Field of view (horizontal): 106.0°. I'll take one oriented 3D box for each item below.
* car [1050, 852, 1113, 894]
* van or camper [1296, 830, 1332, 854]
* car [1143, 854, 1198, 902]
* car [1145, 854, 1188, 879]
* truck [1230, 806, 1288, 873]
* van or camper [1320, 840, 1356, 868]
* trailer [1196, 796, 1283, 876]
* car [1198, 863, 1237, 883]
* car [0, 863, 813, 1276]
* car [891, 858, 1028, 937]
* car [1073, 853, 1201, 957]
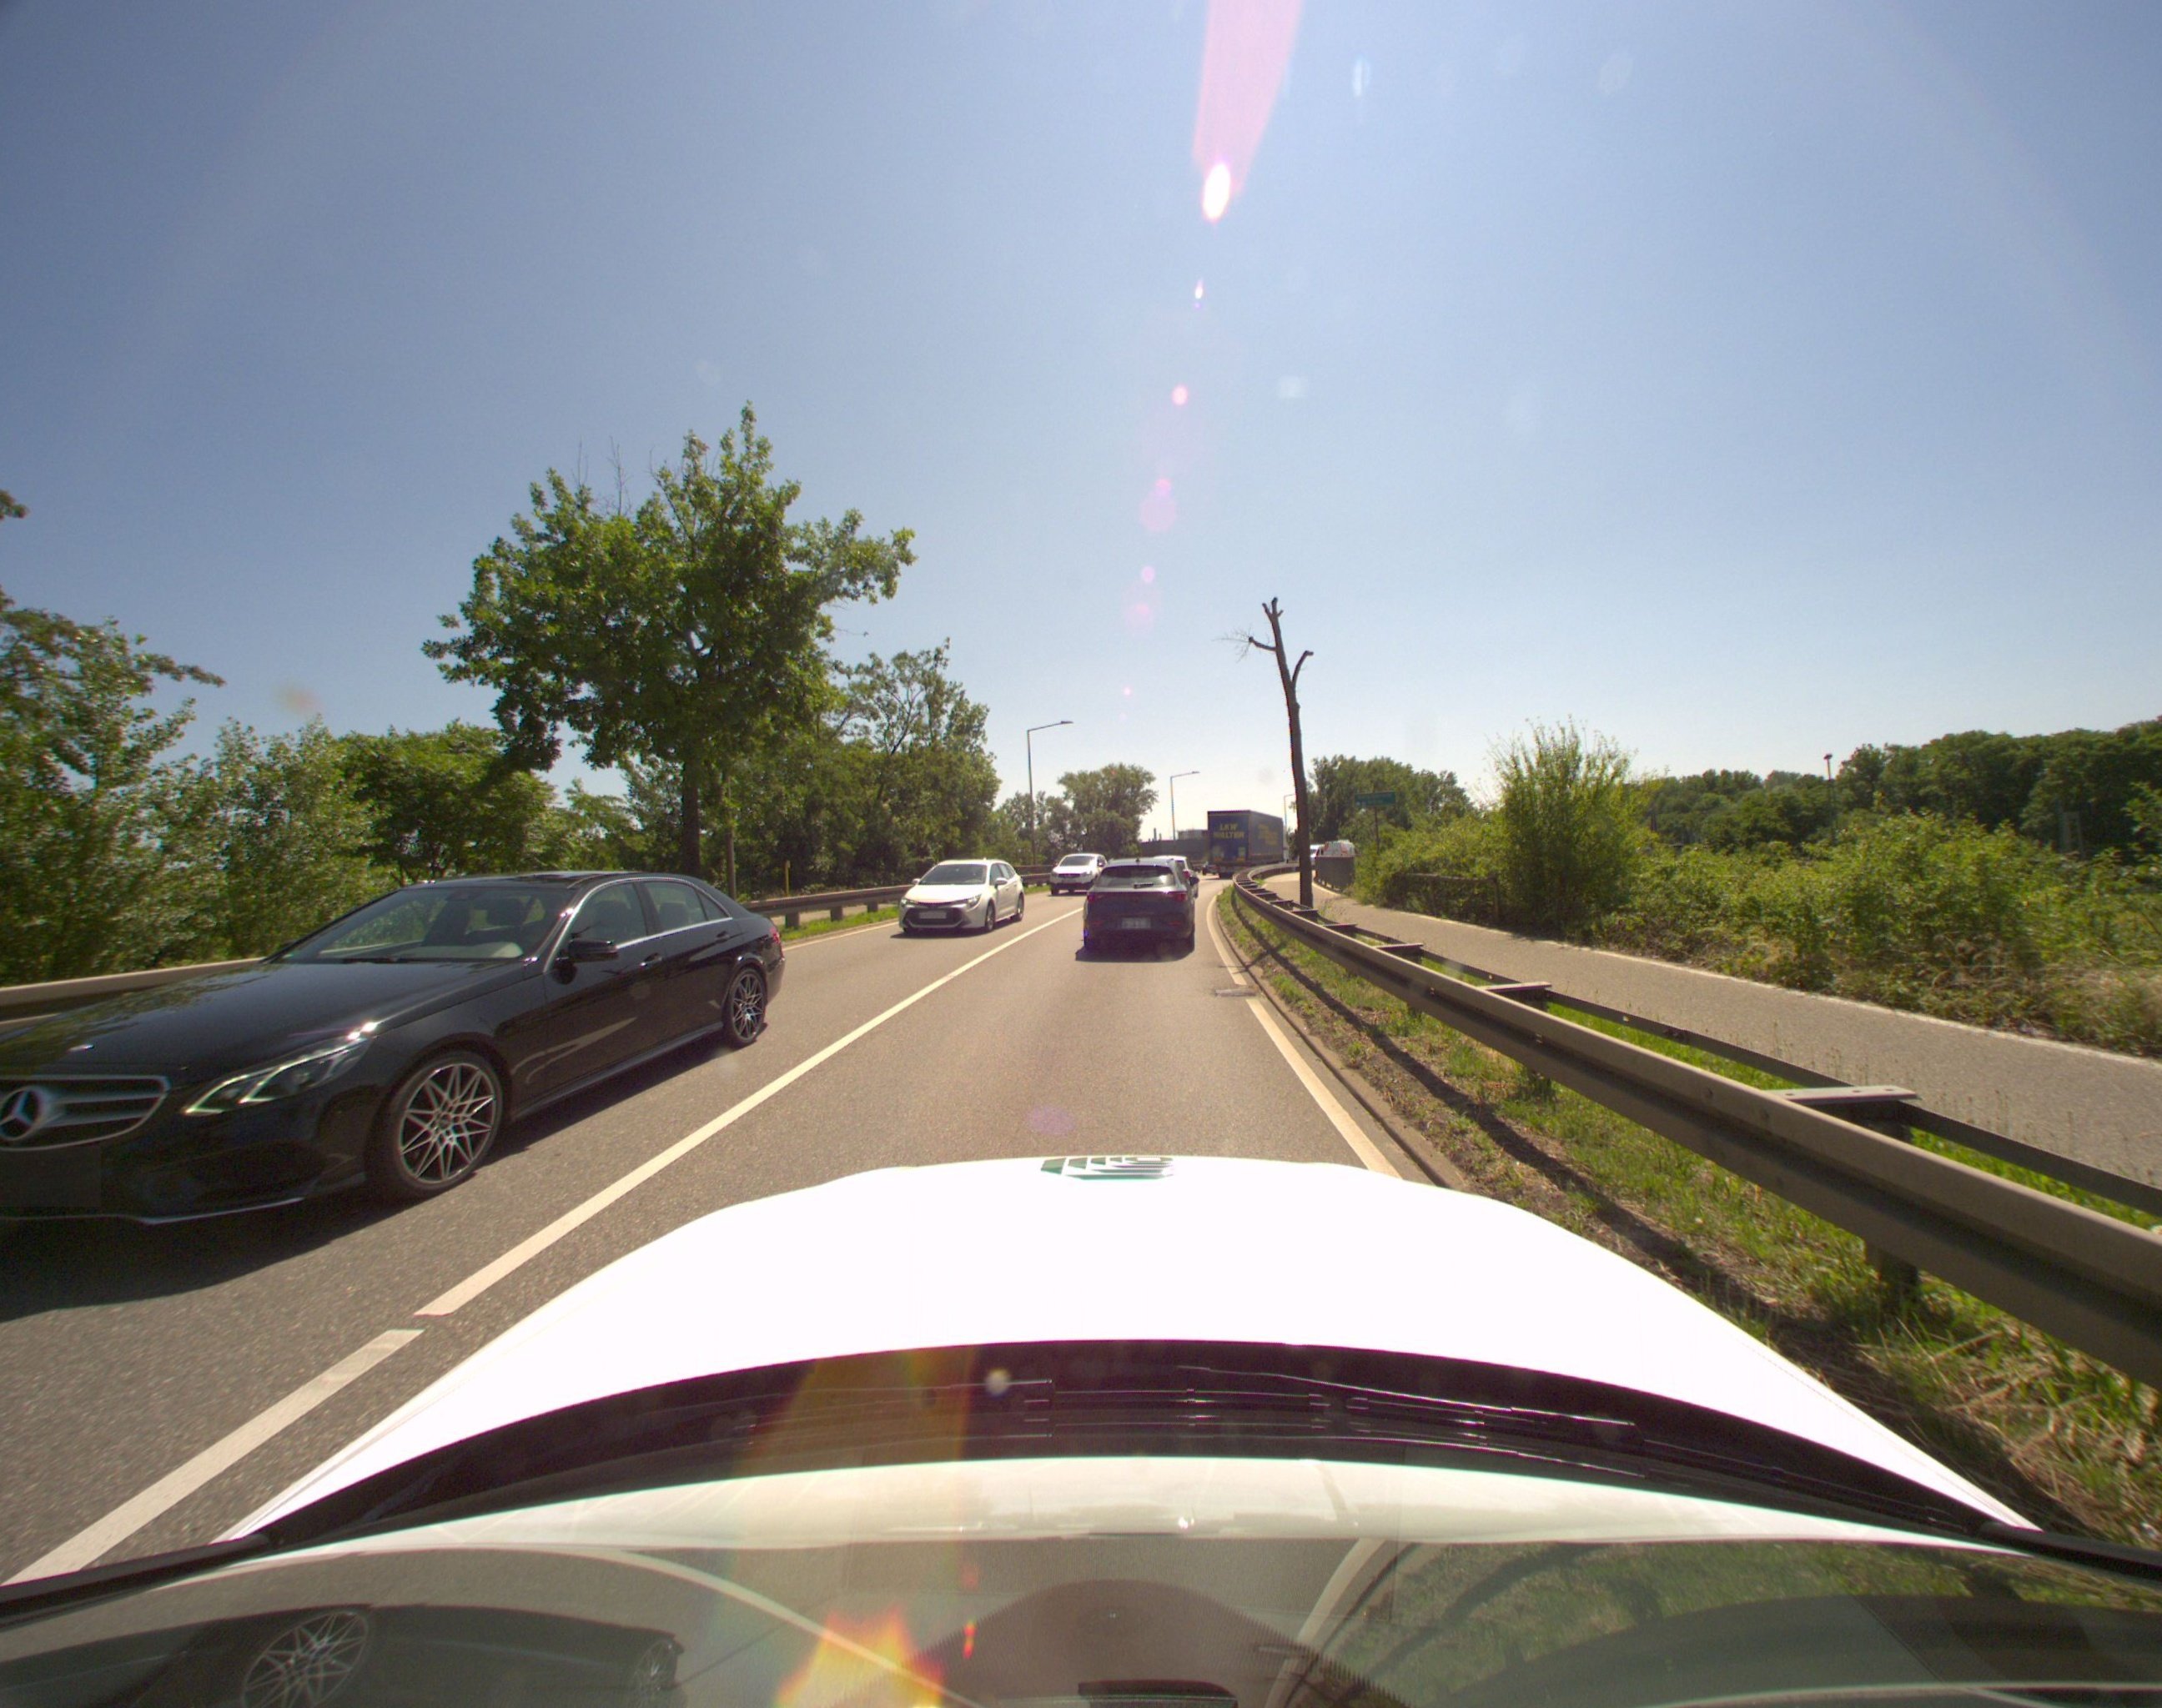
[{"bbox_3d":[0.106,0.730,32.500,1.735,1.546,4.405,-1,0,10],"label":"car"},{"bbox_3d":[25.555,-1.274,89.231,2.028,2.537,5.921,-1,0,34],"label":"van or camper"},{"bbox_3d":[3.001,0.745,26.779,1.583,1.461,3.554,0,0,10],"label":"car"},{"bbox_3d":[5.243,0.710,49.653,1.702,1.428,4.126,-1,0,18],"label":"car"},{"bbox_3d":[13.154,-0.923,59.764,3.143,4.585,7.433,-1,-1,20],"label":"truck"},{"bbox_3d":[26.410,-0.019,83.536,2.182,2.711,5.962,-1,0,30],"label":"van or camper"},{"bbox_3d":[10.687,-1.000,53.542,3.107,4.614,13.017,0,0,22],"label":"trailer"},{"bbox_3d":[10.261,1.385,61.128,1.741,1.442,4.594,-1,-1,24],"label":"car"},{"bbox_3d":[-3.656,0.817,5.397,1.837,1.467,4.747,-1,0,5],"label":"car"},{"bbox_3d":[-2.413,0.827,17.388,1.691,1.447,4.469,0,0,8],"label":"car"},{"bbox_3d":[1.040,0.745,13.659,1.835,1.499,3.765,-1,0,7],"label":"car"}]
